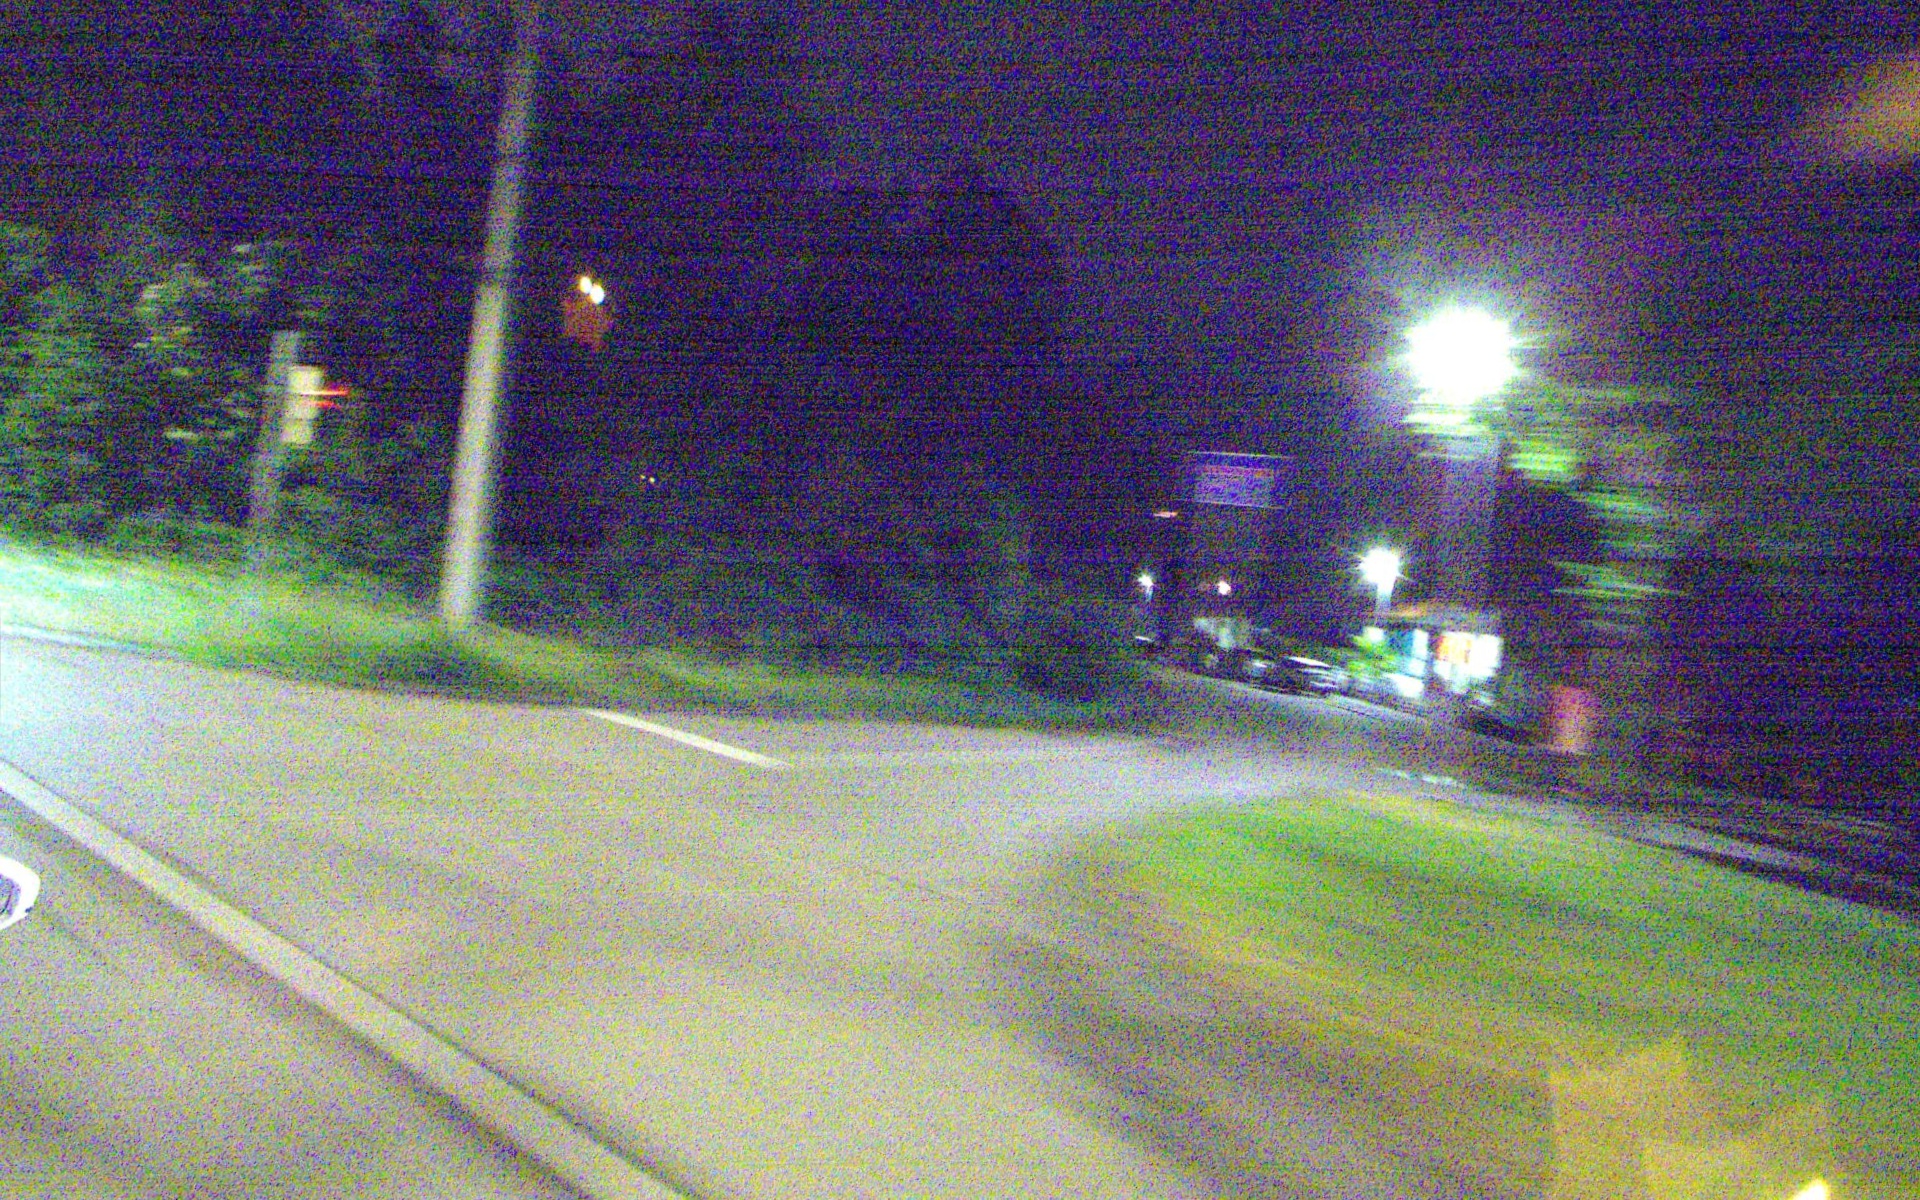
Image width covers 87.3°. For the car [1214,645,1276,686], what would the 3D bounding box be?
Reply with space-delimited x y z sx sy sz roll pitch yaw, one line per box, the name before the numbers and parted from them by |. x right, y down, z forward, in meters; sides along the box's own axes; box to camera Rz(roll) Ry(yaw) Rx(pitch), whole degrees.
car | 14.858 3.389 52.647 1.839 1.716 4.177 8 -1 0

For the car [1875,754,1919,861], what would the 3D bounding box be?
car | 16.832 3.531 15.451 3.800 1.562 1.762 8 0 -1

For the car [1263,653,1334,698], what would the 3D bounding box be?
car | 15.386 3.410 45.941 1.730 1.562 3.870 8 -1 0

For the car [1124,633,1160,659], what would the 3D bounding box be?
car | 13.299 3.323 73.698 1.650 1.553 3.870 8 -1 -1
